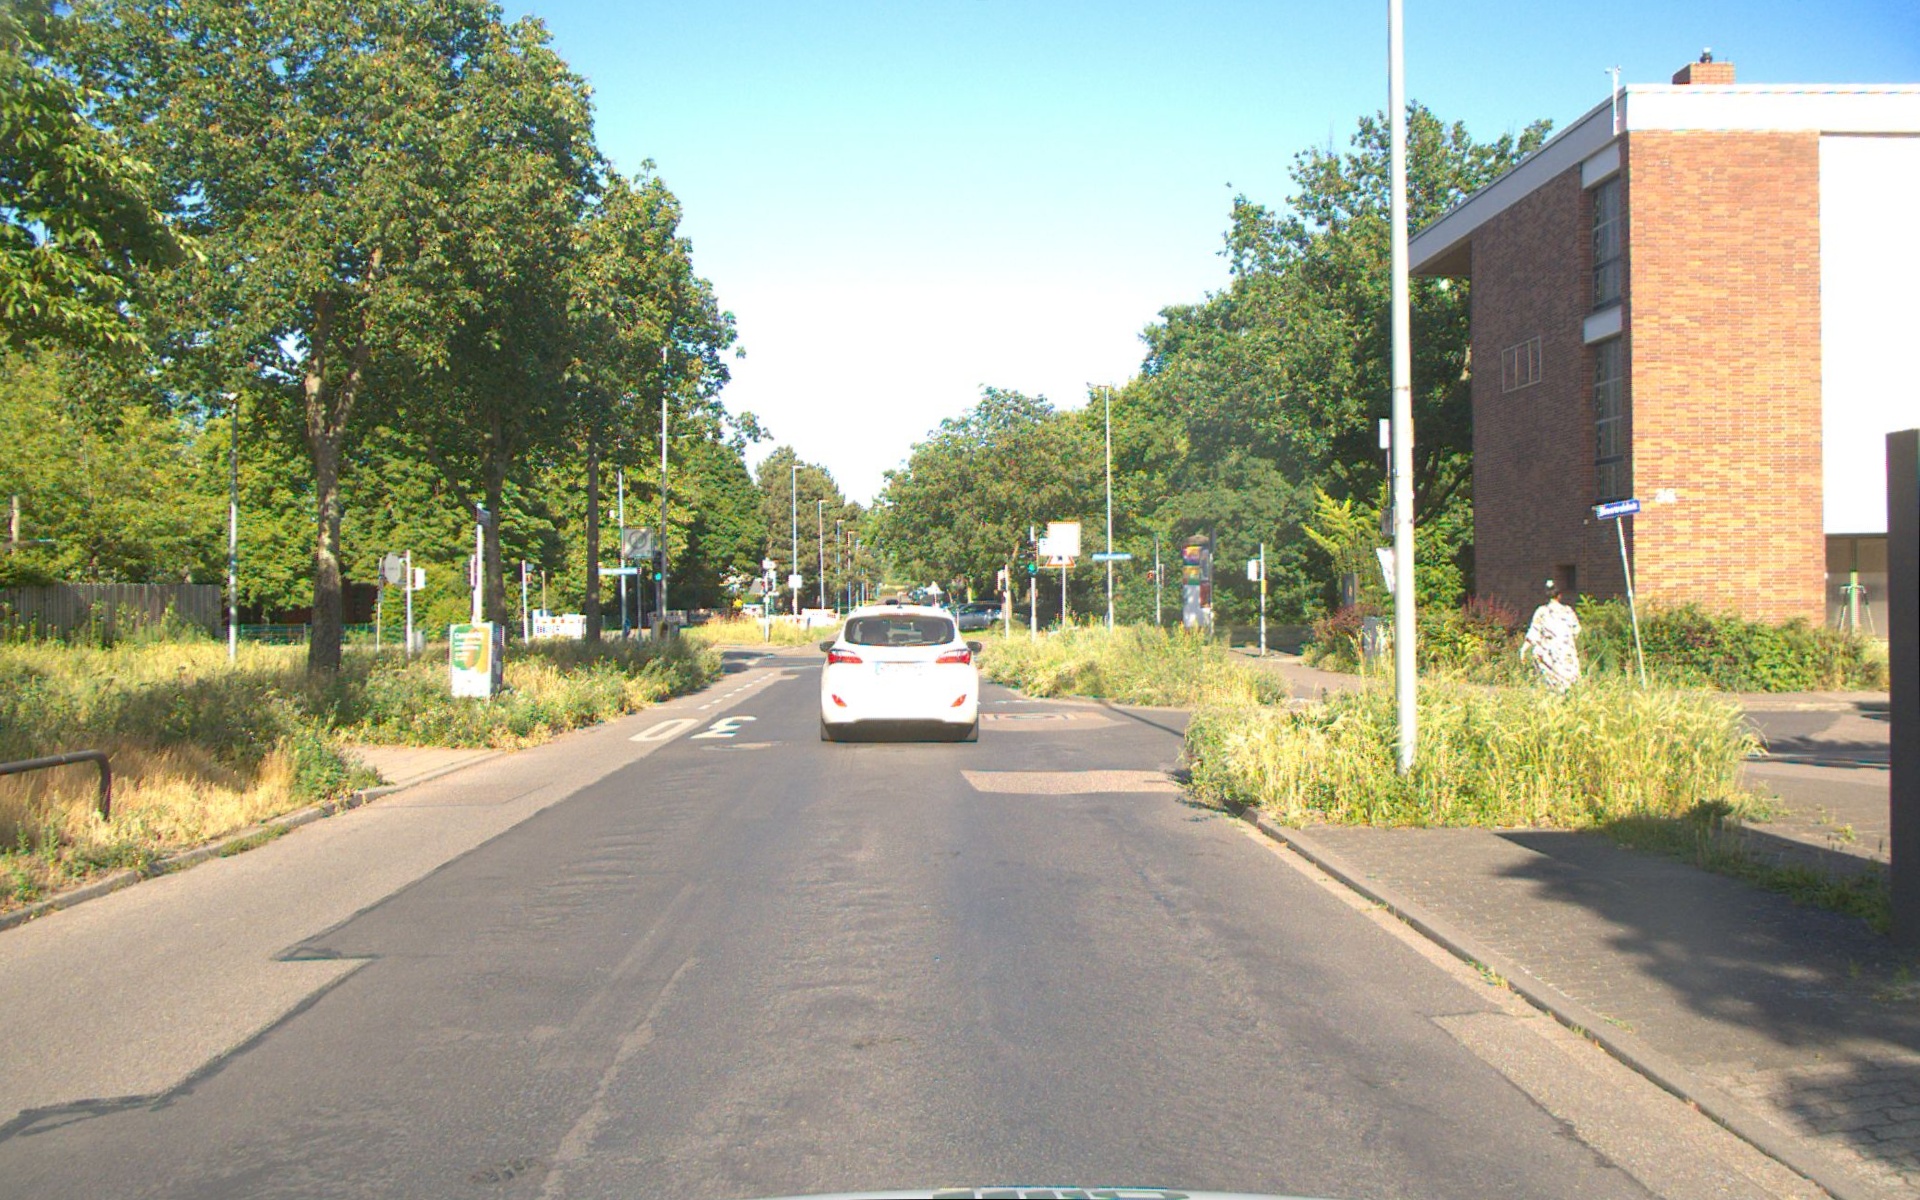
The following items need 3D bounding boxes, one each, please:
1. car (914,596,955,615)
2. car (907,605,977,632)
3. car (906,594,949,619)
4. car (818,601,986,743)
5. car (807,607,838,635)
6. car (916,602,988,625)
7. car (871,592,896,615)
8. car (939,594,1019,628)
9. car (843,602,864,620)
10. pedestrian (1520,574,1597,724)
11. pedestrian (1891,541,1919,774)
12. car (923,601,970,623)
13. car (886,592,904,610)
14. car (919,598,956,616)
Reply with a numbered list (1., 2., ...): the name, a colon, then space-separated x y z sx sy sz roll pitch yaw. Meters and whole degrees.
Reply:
1. car: -2.629 0.550 171.899 4.215 1.941 1.862 0 -1 -2
2. car: -1.127 1.155 104.537 4.406 1.658 1.855 -1 0 0
3. car: -2.873 0.540 144.558 3.742 2.135 1.862 0 -1 -2
4. car: -0.679 0.757 19.367 1.753 1.489 3.961 0 0 -2
5. car: -9.635 1.464 116.461 1.953 1.847 3.999 0 0 -2
6. car: -0.609 1.054 127.915 5.501 1.713 1.947 0 -1 -2
7. car: -6.322 0.274 136.120 1.954 1.847 3.998 2 0 -3
8. car: 1.083 0.593 92.614 4.406 1.814 1.855 -1 0 0
9. car: -10.625 1.083 164.640 1.953 1.847 3.998 0 0 -2
10. pedestrian: 7.581 0.606 20.987 0.880 1.853 0.737 0 -1 18
11. pedestrian: 7.608 0.441 12.803 0.542 1.763 0.662 0 -1 14
12. car: -1.086 0.962 134.583 3.742 1.713 1.862 0 -1 -2
13. car: -7.069 0.120 179.918 1.953 1.848 3.998 0 -1 -2
14. car: -2.293 0.689 168.761 3.742 1.798 1.862 0 -1 -2
